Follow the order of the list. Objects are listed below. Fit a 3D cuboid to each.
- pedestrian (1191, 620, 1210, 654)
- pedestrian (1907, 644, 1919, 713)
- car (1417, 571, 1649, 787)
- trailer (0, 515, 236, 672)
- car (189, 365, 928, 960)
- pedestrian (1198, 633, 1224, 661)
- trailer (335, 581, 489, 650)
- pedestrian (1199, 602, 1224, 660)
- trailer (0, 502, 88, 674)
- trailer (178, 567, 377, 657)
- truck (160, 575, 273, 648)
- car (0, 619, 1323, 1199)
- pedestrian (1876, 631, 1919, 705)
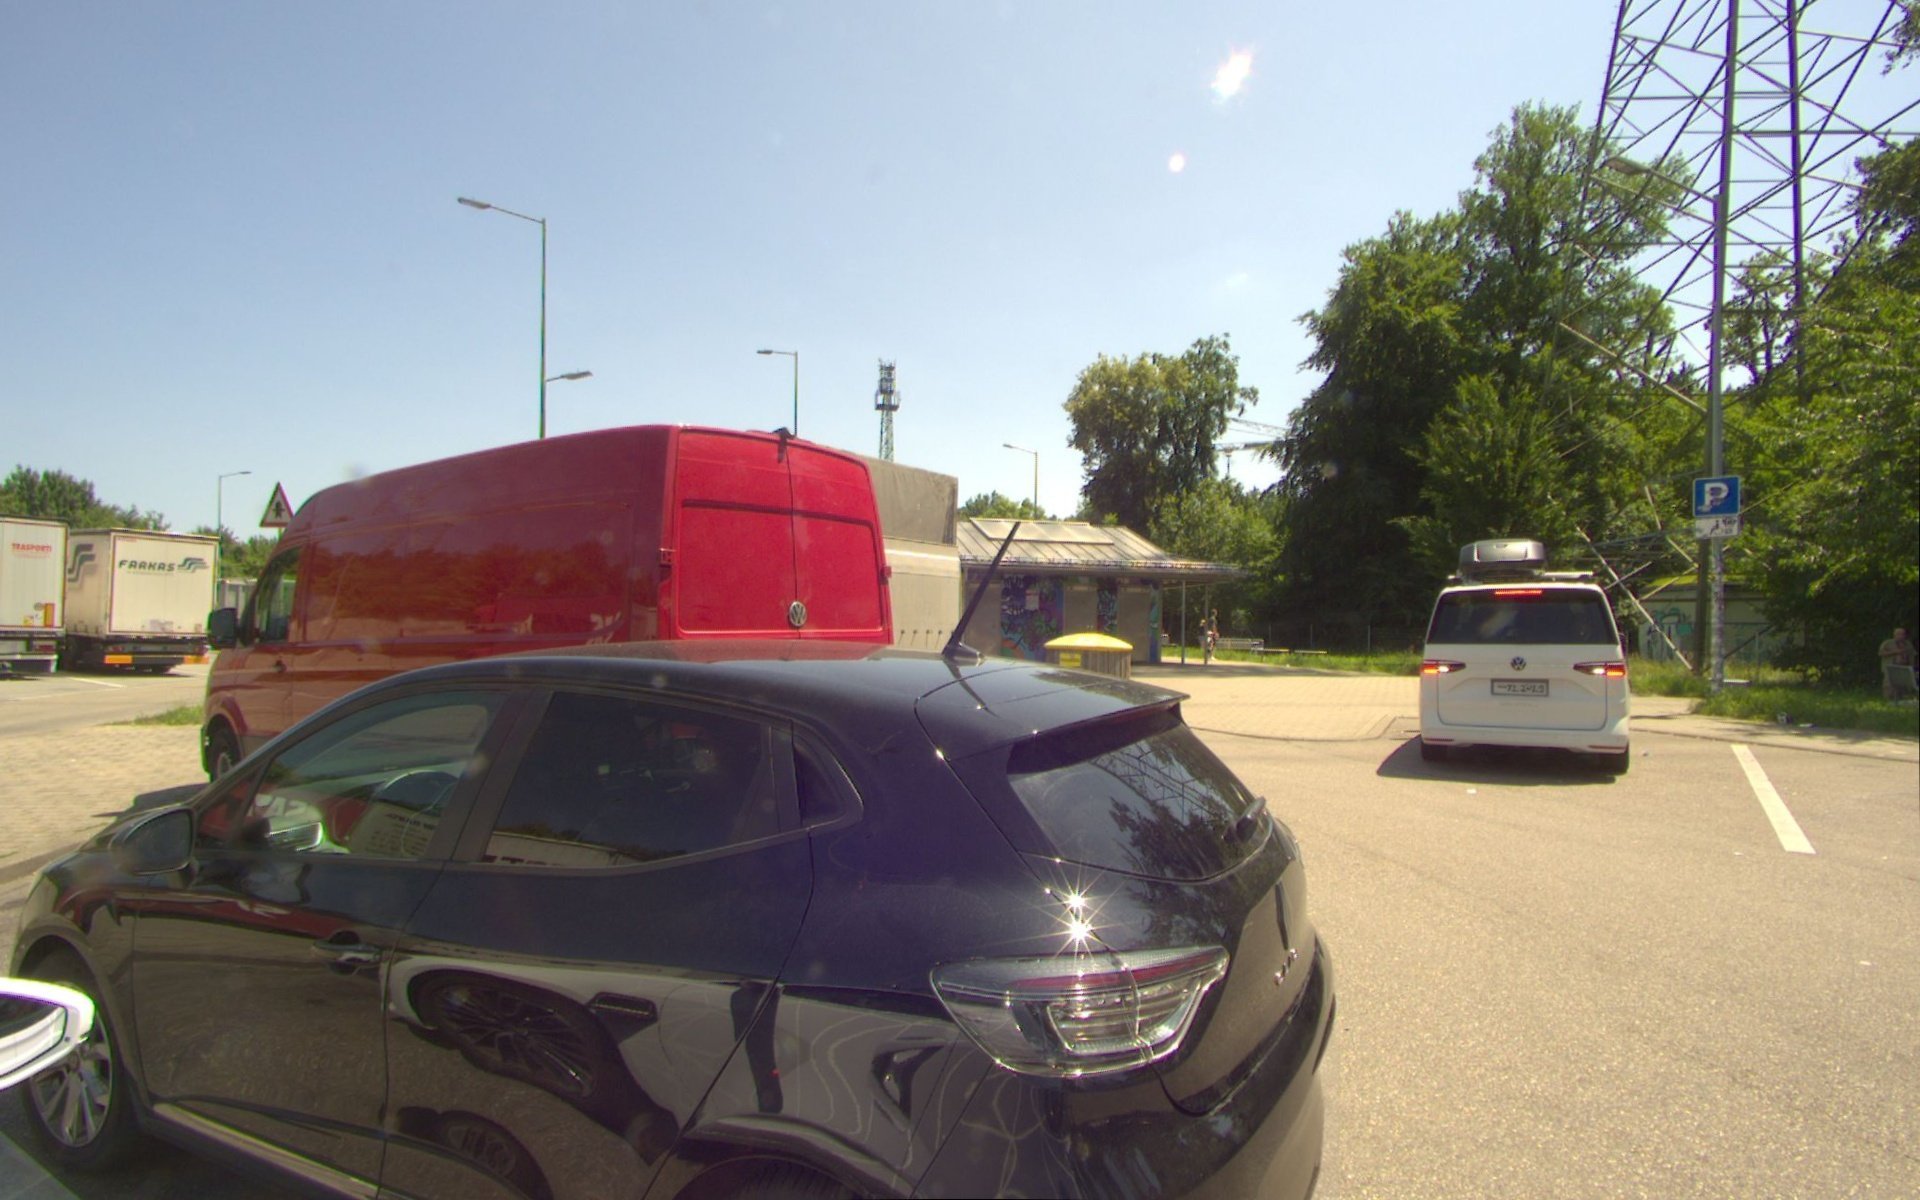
[{"bbox_3d":[10.969,1.674,45.690,0.634,1.547,0.565,0,-1,-13],"label":"pedestrian"},{"bbox_3d":[17.204,1.363,17.456,0.876,1.192,0.666,-1,-2,32],"label":"pedestrian"},{"bbox_3d":[6.323,0.766,11.457,1.881,1.937,4.549,-1,-1,26],"label":"car"},{"bbox_3d":[-27.643,-0.190,31.618,13.523,4.185,2.835,1,-2,33],"label":"trailer"},{"bbox_3d":[-3.341,0.311,7.341,6.310,2.731,2.060,0,-1,37],"label":"car"},{"bbox_3d":[8.912,1.663,35.576,0.763,0.960,0.646,0,-1,0],"label":"pedestrian"},{"bbox_3d":[-36.027,0.922,65.423,13.530,4.101,2.834,1,-2,34],"label":"trailer"},{"bbox_3d":[9.121,1.133,36.346,0.763,2.067,0.646,0,-1,0],"label":"pedestrian"},{"bbox_3d":[-28.952,-0.369,28.137,13.523,4.185,2.835,1,-2,33],"label":"trailer"},{"bbox_3d":[-32.366,0.488,47.129,13.530,3.764,2.834,1,-2,34],"label":"trailer"},{"bbox_3d":[-37.674,0.572,50.729,5.405,3.407,2.847,1,-2,34],"label":"truck"},{"bbox_3d":[-1.050,0.836,2.889,3.757,1.501,1.736,0,-1,27],"label":"car"},{"bbox_3d":[18.631,1.330,19.785,0.660,1.422,0.647,-1,-1,33],"label":"pedestrian"}]
